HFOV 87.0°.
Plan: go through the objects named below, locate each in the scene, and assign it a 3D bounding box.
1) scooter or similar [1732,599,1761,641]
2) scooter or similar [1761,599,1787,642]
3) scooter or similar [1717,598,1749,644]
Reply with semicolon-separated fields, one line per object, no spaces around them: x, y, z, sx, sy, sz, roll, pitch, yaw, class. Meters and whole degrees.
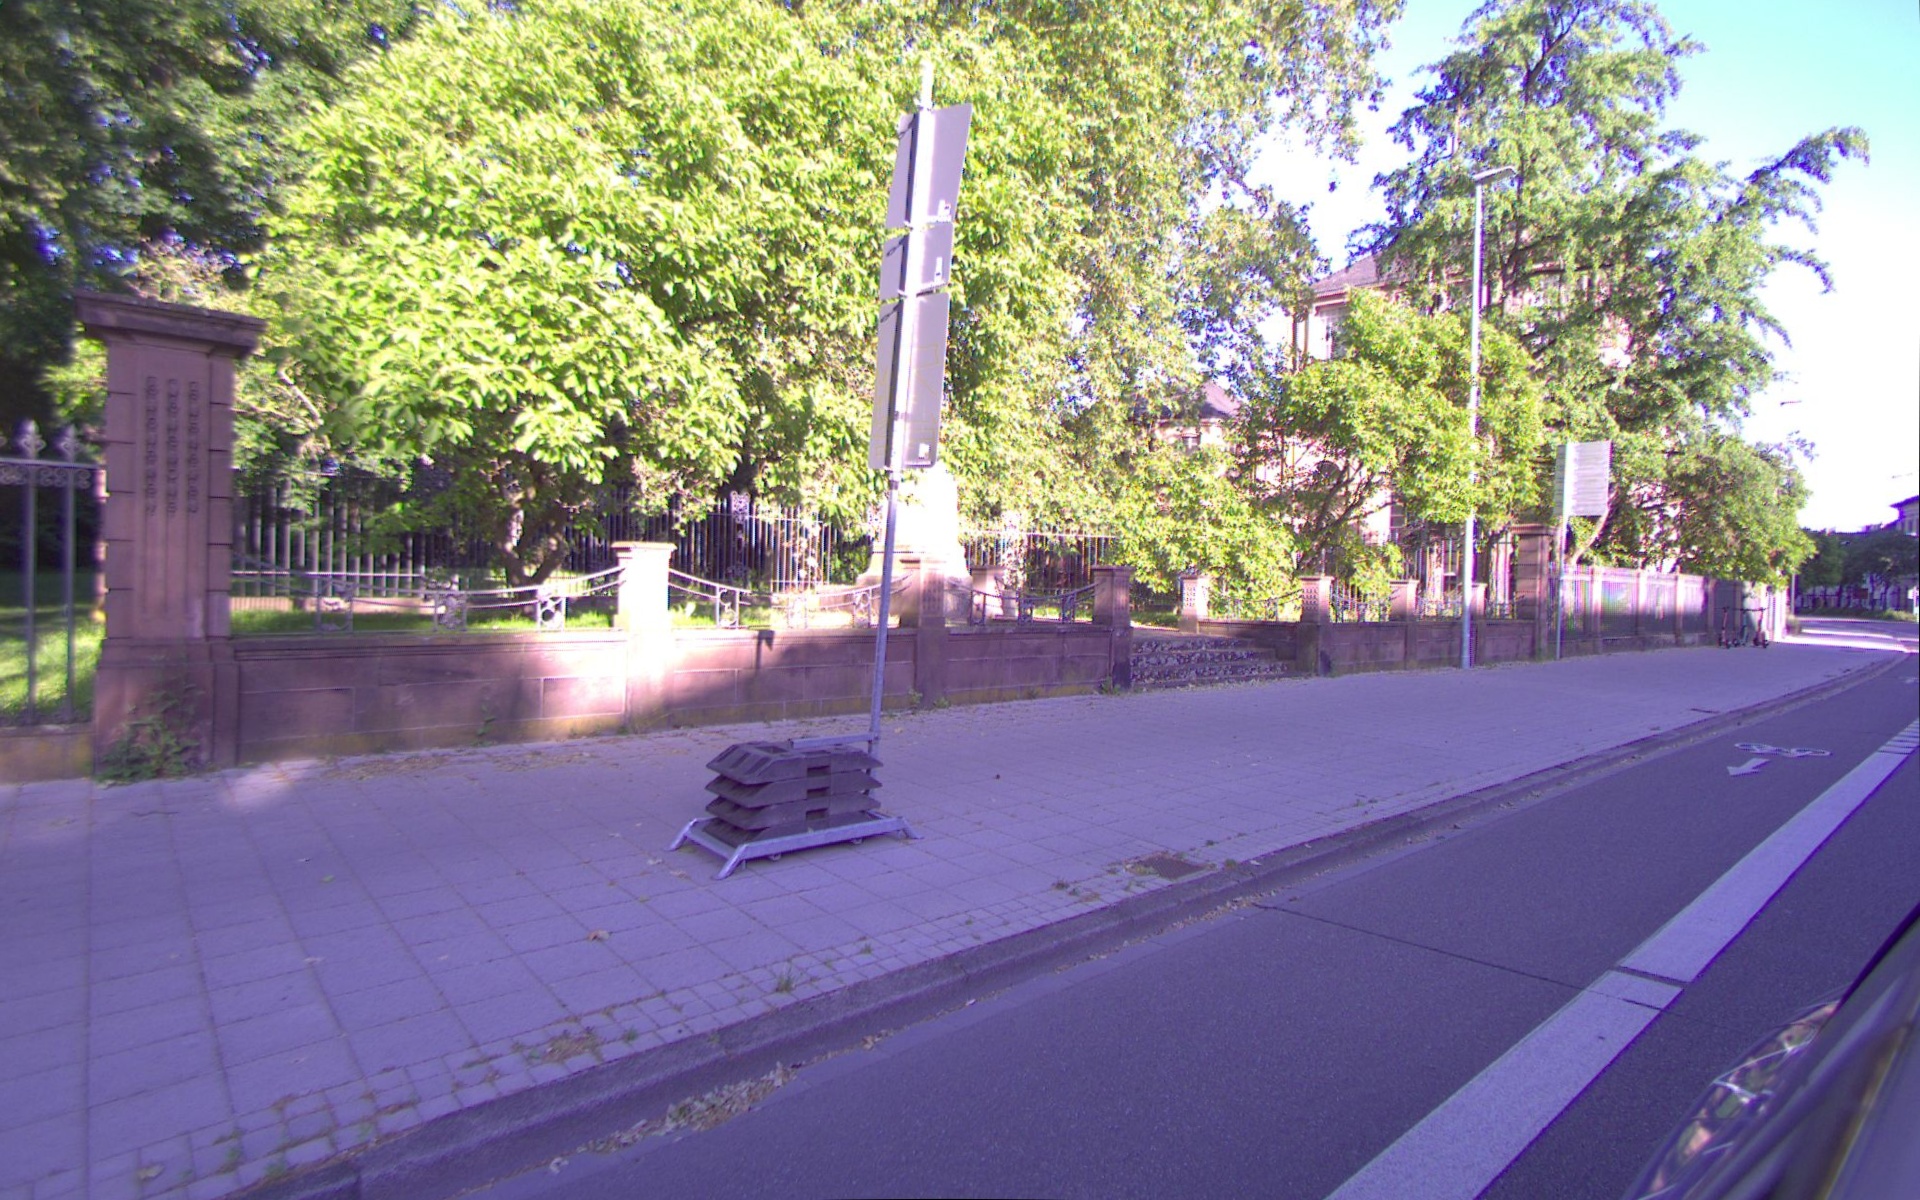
23.736;0.596;30.549;0.574;1.199;1.465;3;2;41;scooter or similar
24.836;0.607;30.898;0.514;1.255;1.502;3;2;37;scooter or similar
22.389;0.581;29.324;0.572;1.269;1.470;2;2;33;scooter or similar
